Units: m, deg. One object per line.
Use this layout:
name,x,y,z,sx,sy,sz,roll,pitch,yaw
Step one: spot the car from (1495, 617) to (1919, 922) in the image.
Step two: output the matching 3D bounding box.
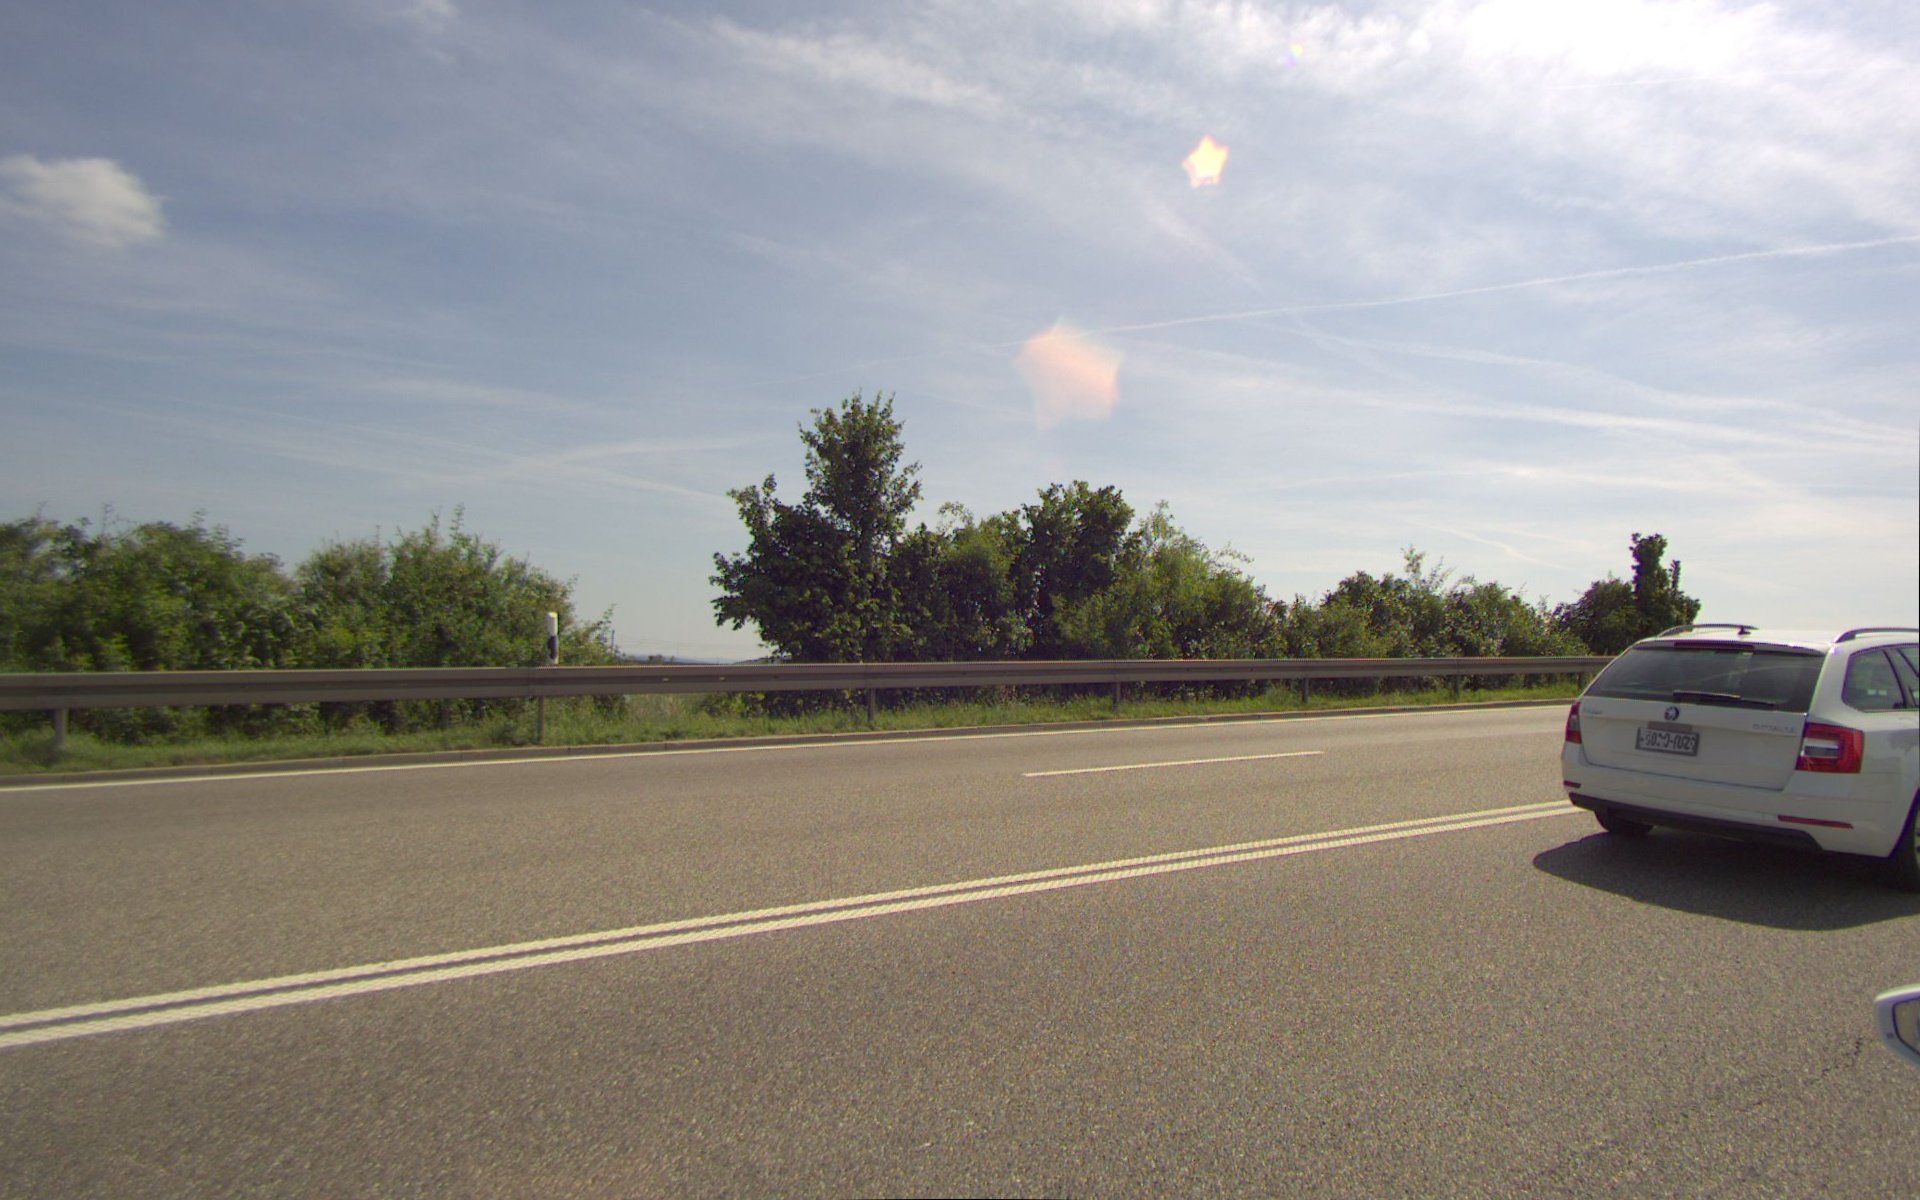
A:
car,6.032,0.907,6.990,4.730,1.492,1.813,1,0,-29
